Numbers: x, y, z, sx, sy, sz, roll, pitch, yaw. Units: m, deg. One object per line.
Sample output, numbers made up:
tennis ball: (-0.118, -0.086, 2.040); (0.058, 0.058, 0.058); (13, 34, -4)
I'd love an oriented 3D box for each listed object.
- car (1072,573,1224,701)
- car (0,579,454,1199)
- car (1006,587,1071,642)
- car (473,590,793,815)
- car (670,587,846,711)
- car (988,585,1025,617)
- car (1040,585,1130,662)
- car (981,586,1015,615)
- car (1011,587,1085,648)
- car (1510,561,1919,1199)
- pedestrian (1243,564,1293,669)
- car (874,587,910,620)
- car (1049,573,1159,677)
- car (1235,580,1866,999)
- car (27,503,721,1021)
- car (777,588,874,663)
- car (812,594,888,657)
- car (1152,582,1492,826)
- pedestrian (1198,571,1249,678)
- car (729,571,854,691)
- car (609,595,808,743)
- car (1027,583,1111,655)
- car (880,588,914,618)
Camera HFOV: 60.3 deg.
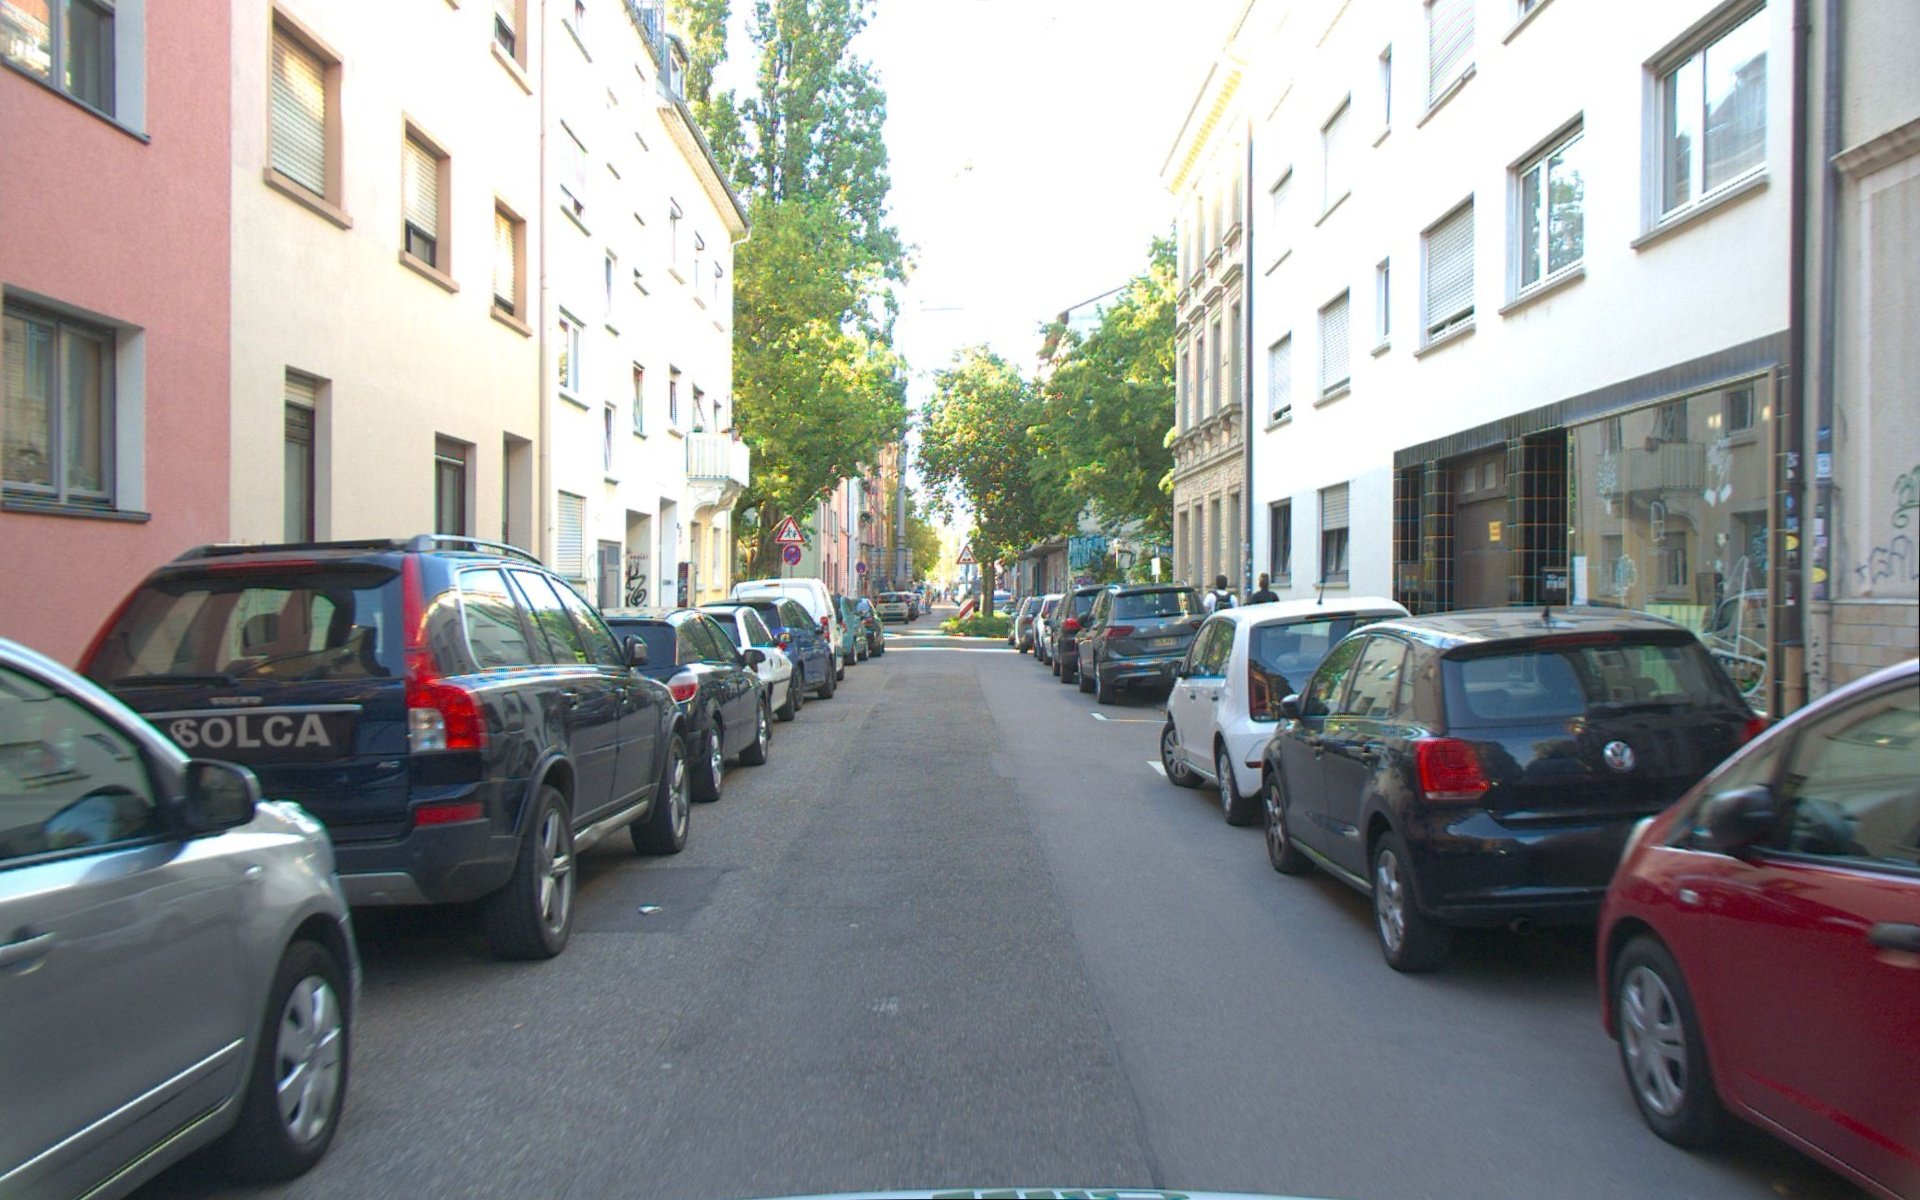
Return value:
car: (2.747, 0.499, 24.991); (1.642, 1.655, 4.249); (-4, 0, -1)
car: (-2.436, 0.760, 3.139); (1.622, 1.547, 3.945); (-2, 1, 1)
car: (2.307, 0.384, 49.356); (1.642, 1.513, 4.094); (-2, 1, -1)
car: (-2.549, 0.718, 13.961); (1.707, 1.533, 4.347); (-2, 1, 1)
car: (-2.728, 0.616, 23.218); (1.638, 1.512, 3.994); (-2, 1, 5)
car: (2.325, 0.043, 83.273); (1.642, 1.513, 3.637); (-2, 1, -1)
car: (2.618, 0.463, 35.242); (1.534, 1.509, 3.618); (-2, 1, -1)
car: (2.054, 0.002, 89.770); (1.642, 1.513, 3.637); (-2, 1, -1)
car: (2.321, 0.429, 44.354); (1.642, 1.513, 4.094); (-2, 1, -1)
car: (2.822, 0.667, 3.886); (1.566, 1.533, 4.183); (-2, 1, -1)
pedestrian: (5.010, 0.260, 26.925); (0.671, 1.689, 0.717); (-1, 0, -1)
car: (-3.342, 0.148, 81.824); (1.642, 1.513, 4.094); (-2, 1, -1)
car: (2.547, 0.437, 30.132); (1.641, 1.711, 4.094); (-2, 0, 1)
car: (2.570, 0.694, 8.236); (1.642, 1.533, 3.936); (-2, 1, -1)
car: (-2.479, 0.568, 8.375); (1.707, 1.842, 4.673); (-2, 1, 1)
car: (-2.925, 0.520, 36.625); (1.635, 1.495, 3.822); (-2, 1, 3)
car: (-2.666, 0.591, 40.811); (1.636, 1.385, 4.048); (-2, 1, -1)
car: (2.579, 0.652, 12.698); (1.642, 1.533, 3.936); (-2, 1, -1)
pedestrian: (4.231, 0.388, 26.600); (0.671, 1.689, 0.717); (-1, 0, -1)
car: (-2.766, 0.464, 27.902); (1.729, 1.816, 4.038); (-2, 1, -1)
car: (-2.735, 0.693, 18.826); (1.639, 1.412, 4.181); (-2, 1, -1)
car: (2.560, 0.408, 39.453); (1.642, 1.588, 3.795); (-2, 1, -1)
car: (-3.307, 0.130, 87.245); (1.642, 1.513, 4.094); (-2, 1, -1)
